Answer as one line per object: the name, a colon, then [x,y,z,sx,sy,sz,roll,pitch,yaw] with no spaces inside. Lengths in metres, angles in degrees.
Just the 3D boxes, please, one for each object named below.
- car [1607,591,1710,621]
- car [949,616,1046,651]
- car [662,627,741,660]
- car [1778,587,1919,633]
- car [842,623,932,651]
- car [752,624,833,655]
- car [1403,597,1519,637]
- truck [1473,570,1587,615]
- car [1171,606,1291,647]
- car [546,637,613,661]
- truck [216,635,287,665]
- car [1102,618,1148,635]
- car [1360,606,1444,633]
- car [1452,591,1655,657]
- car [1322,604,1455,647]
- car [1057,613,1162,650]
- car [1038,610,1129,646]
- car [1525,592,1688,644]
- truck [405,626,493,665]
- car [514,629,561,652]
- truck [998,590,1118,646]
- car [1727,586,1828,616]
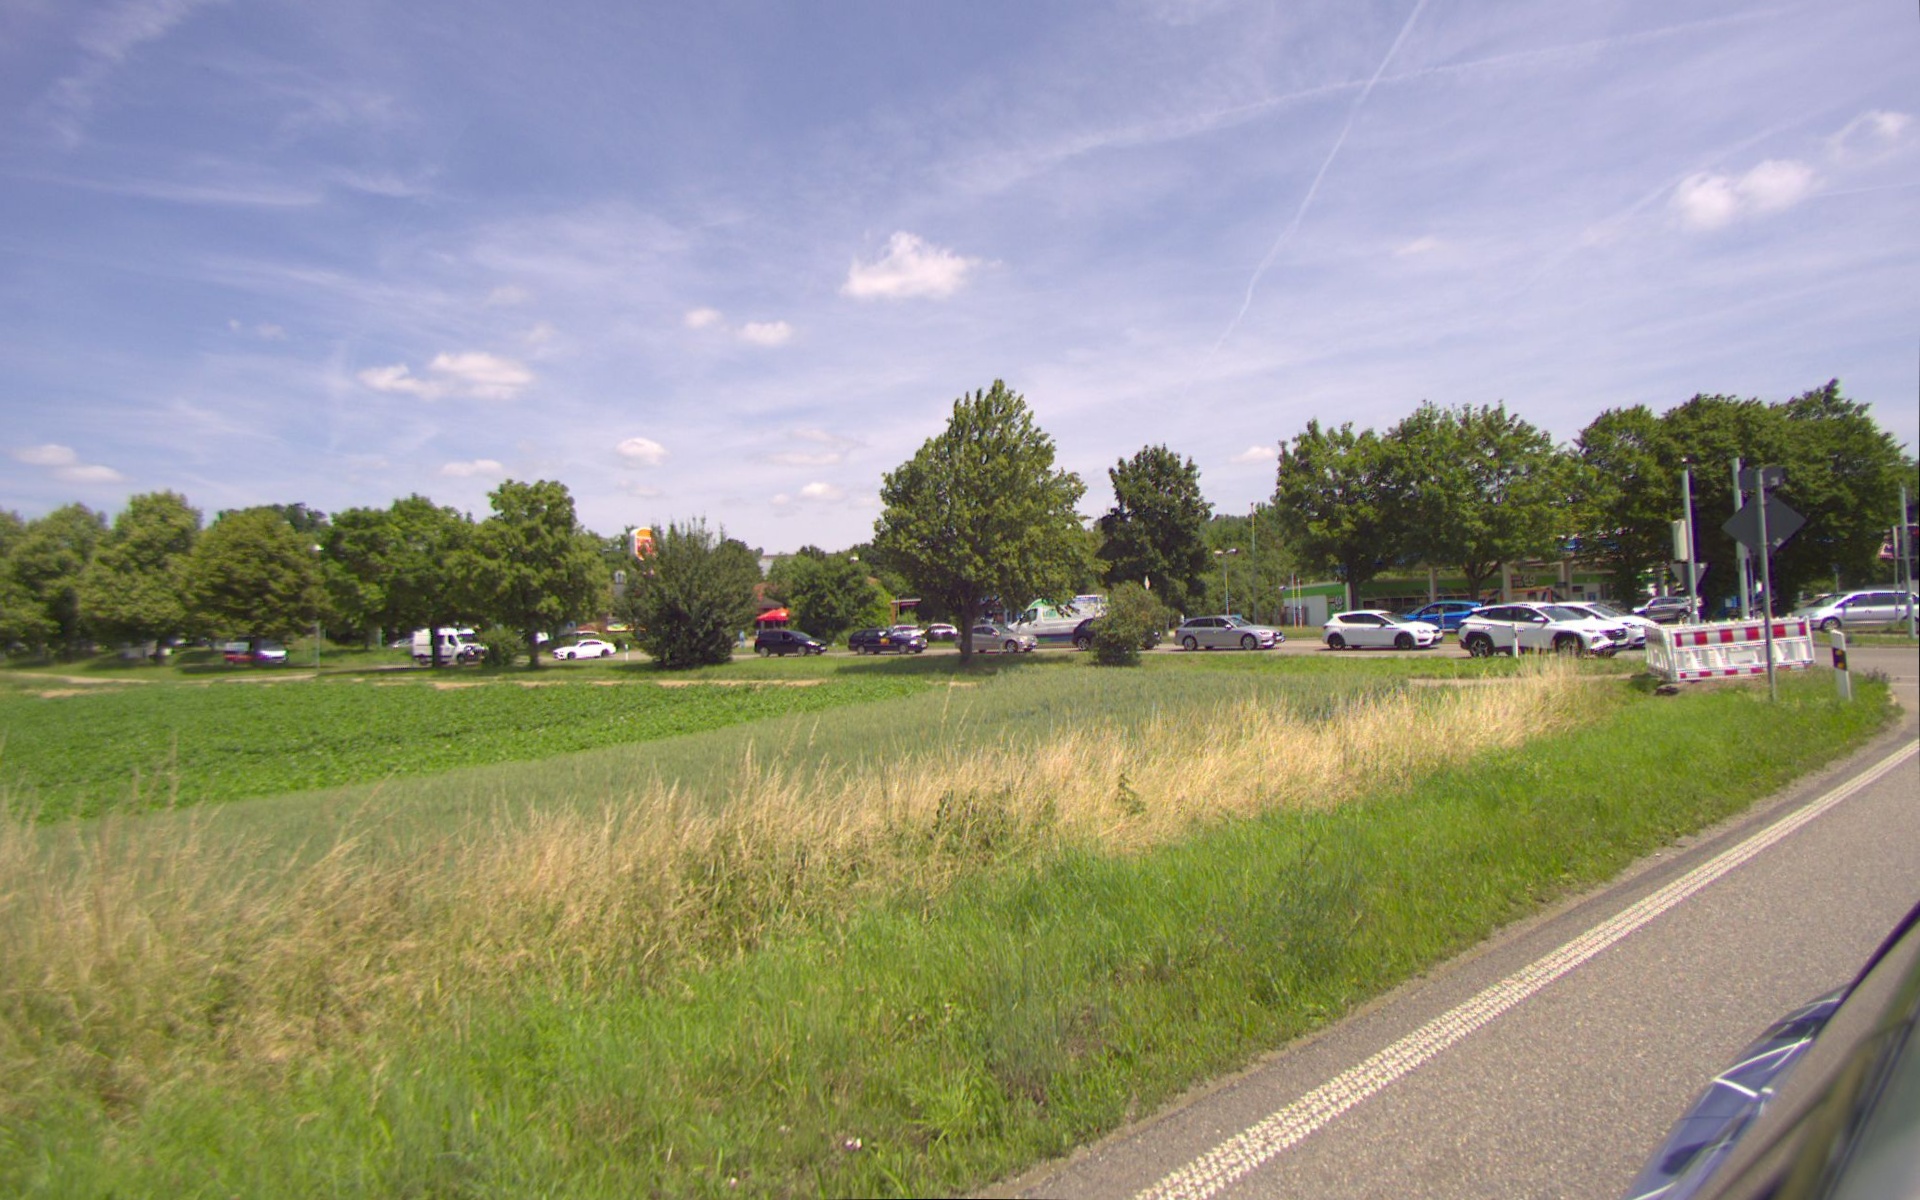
car: [42.911,0.349,62.232,4.846,1.623,2.039,-2,0,0]
car: [1.825,1.677,49.991,4.527,1.529,1.780,-3,0,33]
car: [-15.287,2.574,59.821,4.250,1.719,1.981,-3,0,28]
car: [35.503,0.368,40.062,4.452,1.713,1.862,-1,0,10]
car: [-3.924,1.977,53.955,4.517,1.289,1.784,-3,0,28]
car: [-9.402,2.242,56.869,4.187,1.529,1.786,-3,0,25]
car: [21.677,0.741,43.966,4.338,1.579,1.770,-2,-2,24]
truck: [37.244,-0.470,66.222,6.030,2.652,2.263,-2,-1,-2]
car: [11.286,1.139,42.414,1.772,1.529,4.547,-2,-1,-45]
car: [-29.215,3.734,77.761,4.423,1.579,1.874,-3,0,-41]
truck: [-54.102,3.847,77.277,5.410,2.000,1.788,-3,0,22]
car: [14.986,2.394,92.072,3.815,1.398,1.706,-3,-2,35]
car: [26.412,1.191,60.638,4.255,1.380,1.753,-3,0,13]
car: [16.958,0.710,29.207,1.959,1.627,4.645,-3,-1,-28]
car: [15.674,0.922,37.171,1.770,1.437,4.098,-3,1,-41]
car: [6.845,1.455,46.651,4.540,1.529,1.775,-3,0,41]
car: [6.662,1.522,54.691,4.482,1.713,1.849,-2,0,28]
car: [20.303,0.541,31.979,1.790,1.437,3.979,-3,0,-24]
truck: [-34.408,3.059,68.139,5.570,2.396,2.039,-3,0,22]
car: [-38.002,3.673,90.950,3.964,1.847,1.804,-3,0,30]
truck: [5.085,0.957,52.874,5.885,2.771,2.054,-2,0,28]
car: [50.426,0.075,62.475,4.542,1.642,2.000,-2,0,0]
